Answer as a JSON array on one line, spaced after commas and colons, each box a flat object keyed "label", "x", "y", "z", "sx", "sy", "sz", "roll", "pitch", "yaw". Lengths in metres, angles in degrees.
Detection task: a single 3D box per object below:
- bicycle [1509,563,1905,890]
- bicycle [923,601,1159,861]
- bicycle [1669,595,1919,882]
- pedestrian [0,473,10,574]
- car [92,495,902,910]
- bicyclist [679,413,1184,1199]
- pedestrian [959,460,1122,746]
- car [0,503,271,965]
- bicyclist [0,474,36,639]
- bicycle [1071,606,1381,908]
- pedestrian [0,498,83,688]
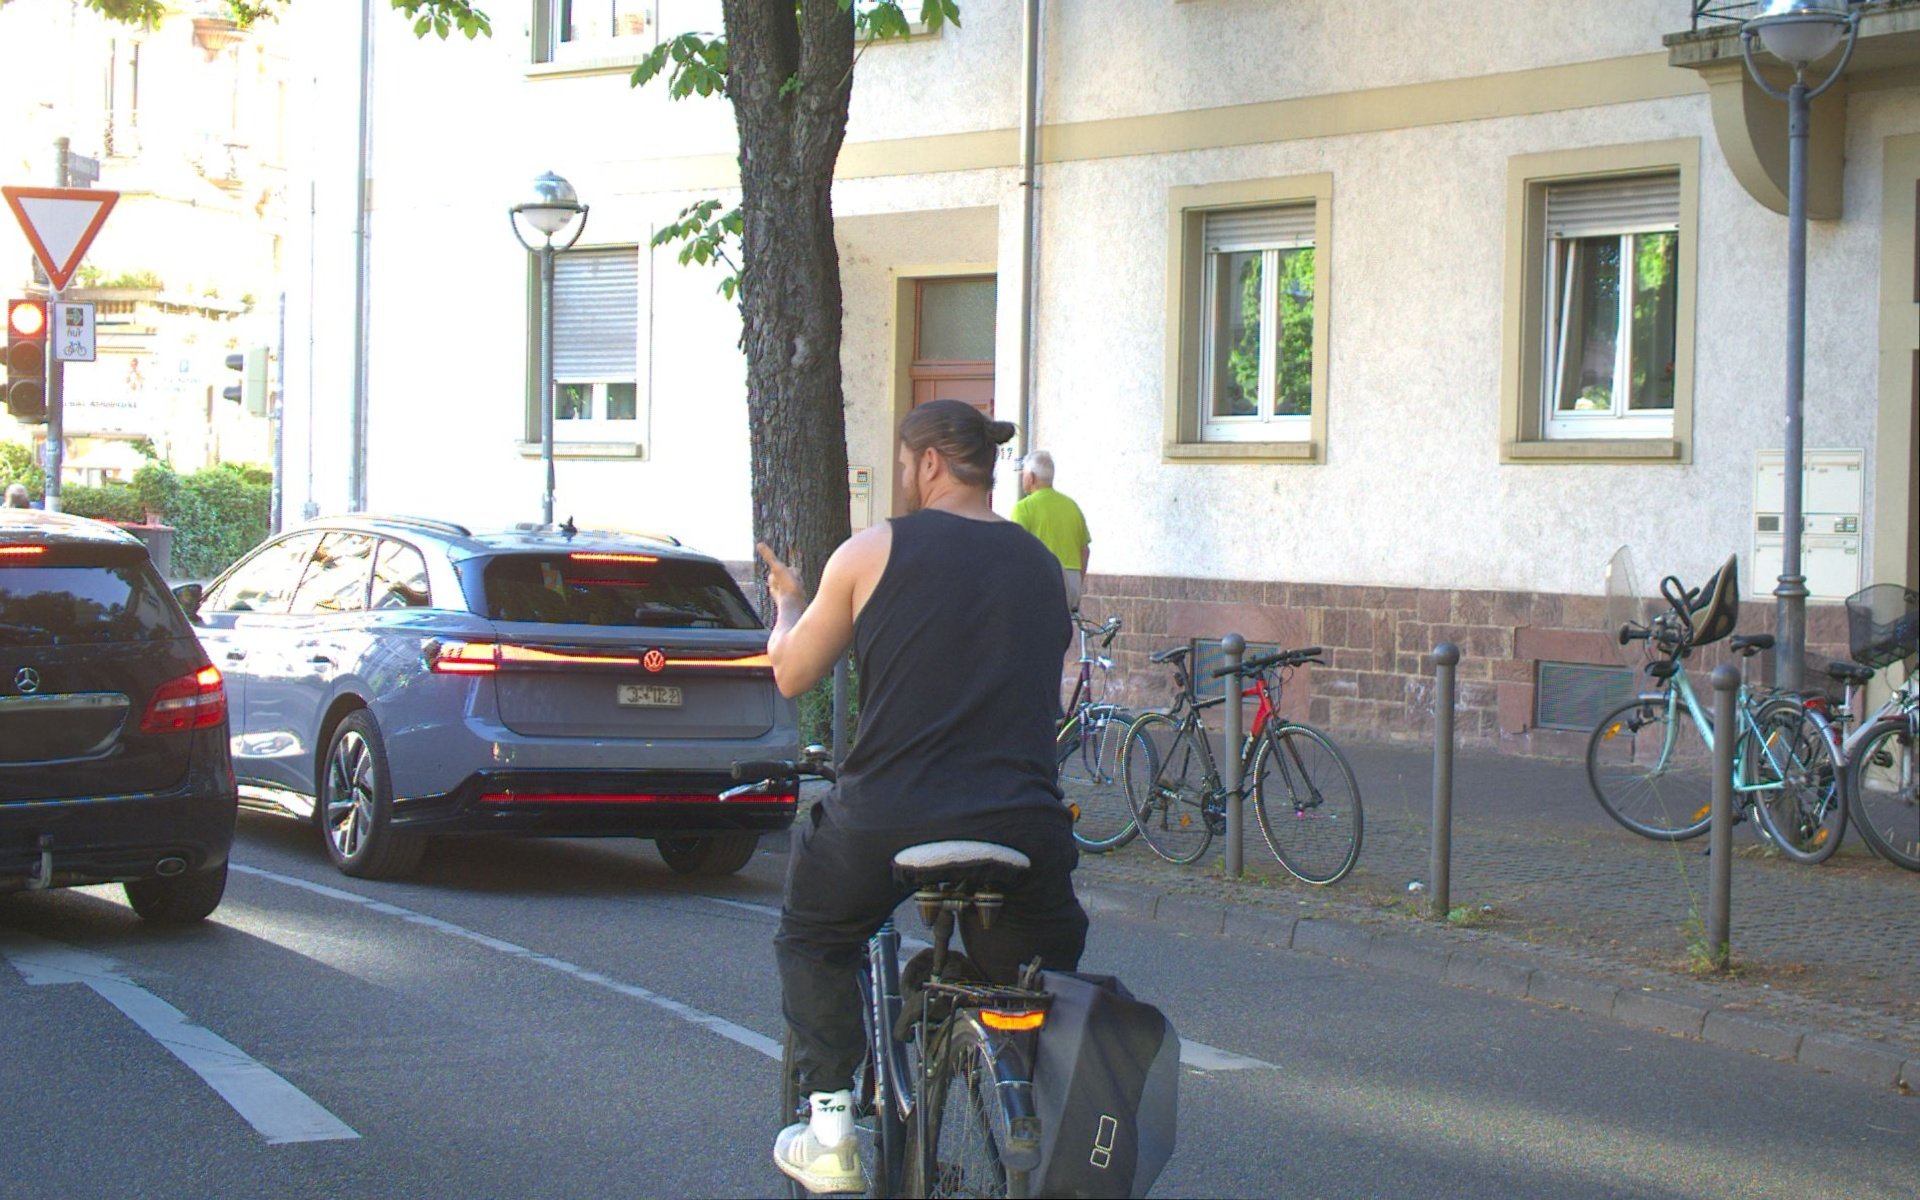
[{"label": "bicycle", "x": 3.190, "y": 0.498, "z": 14.895, "sx": 0.717, "sy": 1.273, "sz": 1.967, "roll": -1, "pitch": 2, "yaw": -21}, {"label": "bicycle", "x": 0.354, "y": 0.579, "z": 16.013, "sx": 0.480, "sy": 1.060, "sz": 1.636, "roll": -2, "pitch": 3, "yaw": -22}, {"label": "bicycle", "x": 3.901, "y": 0.566, "z": 14.913, "sx": 0.667, "sy": 1.103, "sz": 1.967, "roll": 1, "pitch": 1, "yaw": -19}, {"label": "pedestrian", "x": -16.658, "y": -1.313, "z": 58.466, "sx": 0.663, "sy": 1.709, "sz": 0.635, "roll": 2, "pitch": 1, "yaw": 30}, {"label": "car", "x": -2.291, "y": 0.385, "z": 15.801, "sx": 1.970, "sy": 1.580, "sz": 4.475, "roll": 3, "pitch": 0, "yaw": -31}, {"label": "bicyclist", "x": -0.083, "y": 0.501, "z": 6.272, "sx": 0.686, "sy": 1.650, "sz": 0.990, "roll": 0, "pitch": 2, "yaw": -15}, {"label": "pedestrian", "x": 0.496, "y": -0.003, "z": 21.373, "sx": 0.643, "sy": 1.721, "sz": 0.888, "roll": -2, "pitch": 3, "yaw": -27}, {"label": "car", "x": -4.244, "y": 0.406, "z": 13.181, "sx": 1.790, "sy": 1.536, "sz": 3.860, "roll": -2, "pitch": 2, "yaw": -34}, {"label": "bicyclist", "x": -9.423, "y": -0.433, "z": 33.515, "sx": 0.529, "sy": 1.592, "sz": 0.674, "roll": 2, "pitch": 1, "yaw": 10}, {"label": "bicycle", "x": 1.087, "y": 0.622, "z": 14.452, "sx": 0.526, "sy": 1.103, "sz": 1.741, "roll": -2, "pitch": 3, "yaw": -24}, {"label": "pedestrian", "x": -8.341, "y": -0.074, "z": 30.552, "sx": 0.901, "sy": 1.629, "sz": 0.726, "roll": 3, "pitch": 2, "yaw": -21}]
